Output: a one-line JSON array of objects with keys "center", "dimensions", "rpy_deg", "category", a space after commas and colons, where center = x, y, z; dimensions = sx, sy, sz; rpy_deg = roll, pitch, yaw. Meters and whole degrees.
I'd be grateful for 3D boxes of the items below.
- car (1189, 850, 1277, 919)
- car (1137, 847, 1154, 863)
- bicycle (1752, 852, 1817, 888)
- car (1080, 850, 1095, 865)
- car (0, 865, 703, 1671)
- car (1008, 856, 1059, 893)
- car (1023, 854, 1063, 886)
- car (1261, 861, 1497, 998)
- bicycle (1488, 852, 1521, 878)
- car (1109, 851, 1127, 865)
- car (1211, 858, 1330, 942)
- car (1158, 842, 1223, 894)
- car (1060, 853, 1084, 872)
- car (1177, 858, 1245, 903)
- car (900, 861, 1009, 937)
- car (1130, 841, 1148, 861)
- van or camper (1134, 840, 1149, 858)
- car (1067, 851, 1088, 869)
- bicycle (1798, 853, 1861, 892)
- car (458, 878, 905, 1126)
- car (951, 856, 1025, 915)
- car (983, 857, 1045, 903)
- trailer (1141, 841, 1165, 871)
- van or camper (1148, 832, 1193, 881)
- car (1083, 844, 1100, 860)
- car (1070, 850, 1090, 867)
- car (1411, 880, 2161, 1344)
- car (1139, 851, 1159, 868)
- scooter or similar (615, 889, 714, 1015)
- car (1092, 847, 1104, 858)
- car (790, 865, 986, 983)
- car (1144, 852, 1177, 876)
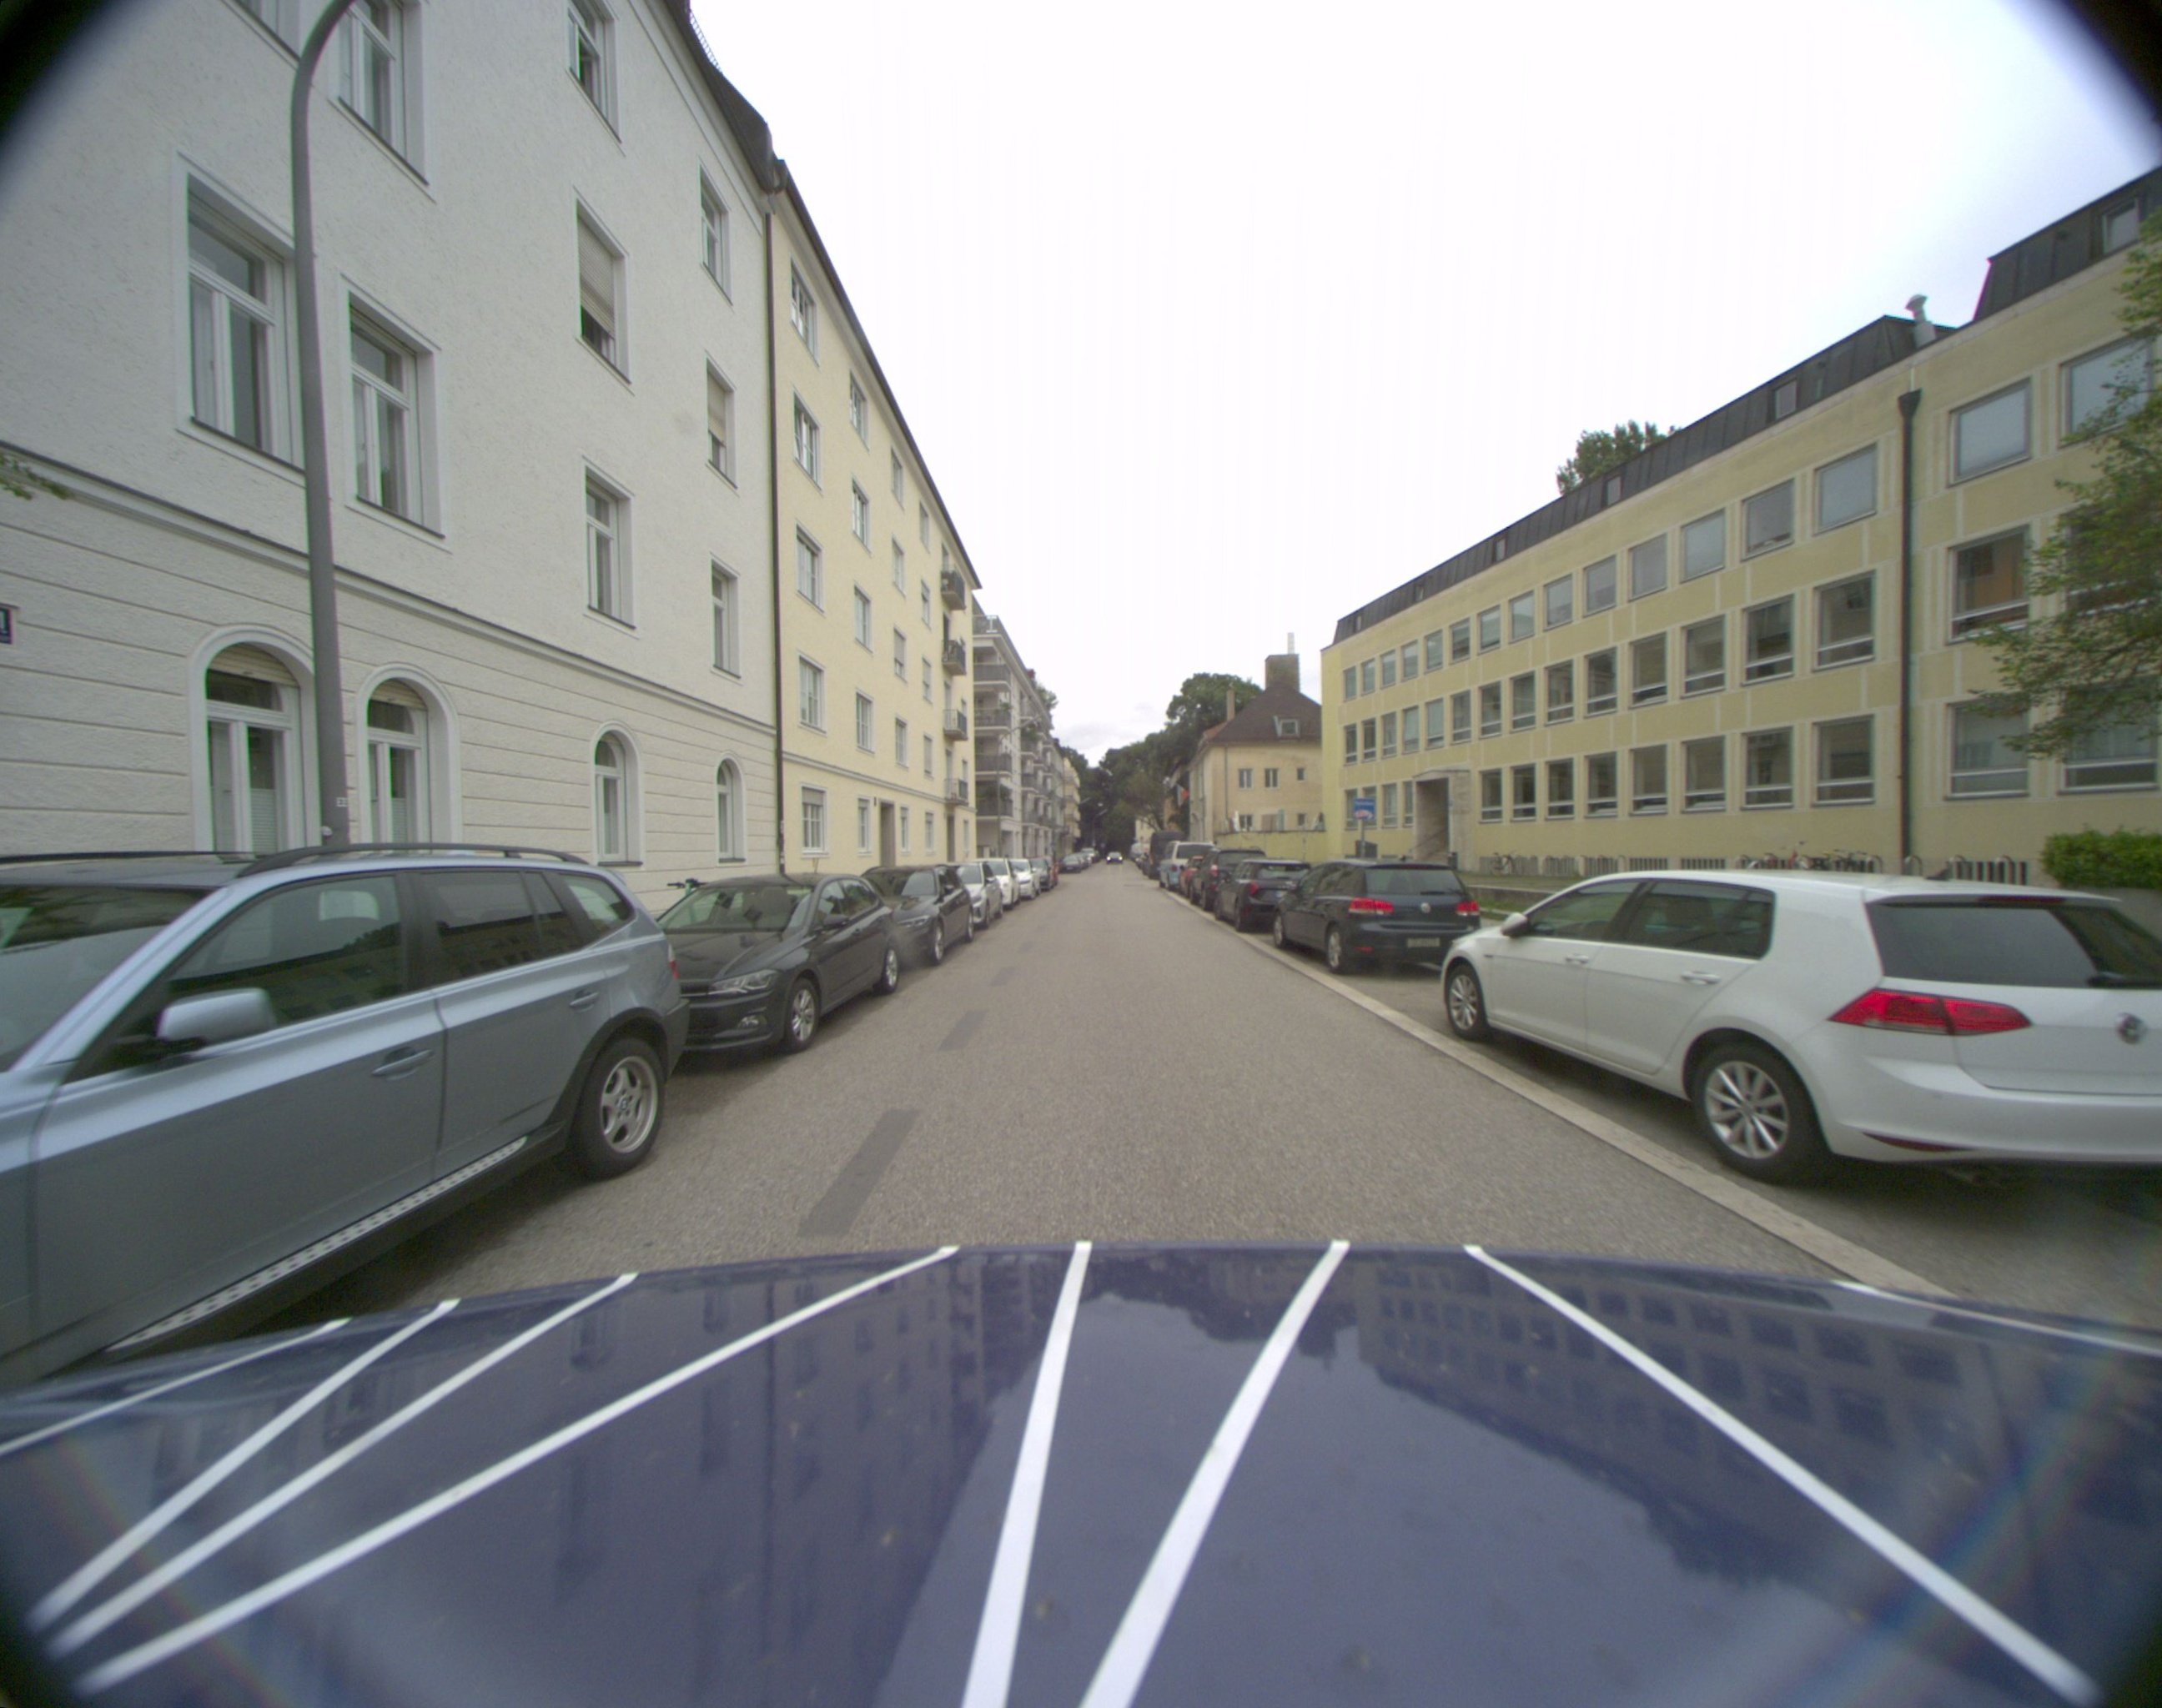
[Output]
[{"center": [4.063, 0.748, 20.912], "dimensions": [1.719, 1.680, 4.141], "rpy_deg": [1, 1, 2], "category": "car"}, {"center": [7.518, 0.101, 88.679], "dimensions": [1.719, 1.746, 4.251], "rpy_deg": [0, 0, 2], "category": "car"}, {"center": [19.432, 0.436, 20.983], "dimensions": [1.410, 0.939, 0.414], "rpy_deg": [-3, 1, -1], "category": "bicycle"}, {"center": [0.720, 0.340, 83.650], "dimensions": [1.668, 1.459, 4.375], "rpy_deg": [-1, 2, 0], "category": "car"}, {"center": [-3.248, 0.937, 2.318], "dimensions": [1.851, 1.654, 4.498], "rpy_deg": [-2, 1, 1], "category": "car"}, {"center": [-1.988, 0.849, 33.227], "dimensions": [1.777, 1.421, 4.615], "rpy_deg": [-2, 0, 1], "category": "car"}, {"center": [-1.868, 0.771, 38.204], "dimensions": [1.659, 1.421, 3.756], "rpy_deg": [-2, 0, 1], "category": "car"}, {"center": [3.893, 0.883, 10.740], "dimensions": [1.635, 1.486, 4.100], "rpy_deg": [1, 0, -1], "category": "car"}, {"center": [16.996, 0.435, 30.472], "dimensions": [1.413, 0.939, 0.413], "rpy_deg": [-3, 1, -26], "category": "bicycle"}, {"center": [4.265, 0.471, 87.609], "dimensions": [1.998, 1.521, 4.001], "rpy_deg": [-2, 0, 2], "category": "car"}, {"center": [3.799, 0.849, 15.843], "dimensions": [1.634, 1.486, 3.820], "rpy_deg": [0, 1, 2], "category": "car"}, {"center": [4.381, 0.539, 31.160], "dimensions": [1.920, 1.948, 4.961], "rpy_deg": [1, 0, 0], "category": "car"}, {"center": [-0.665, 0.647, 60.582], "dimensions": [1.775, 1.467, 4.217], "rpy_deg": [-1, 0, 0], "category": "car"}, {"center": [4.411, 0.859, 26.255], "dimensions": [1.809, 1.398, 3.709], "rpy_deg": [1, 0, 2], "category": "car"}, {"center": [-2.769, 0.937, 17.548], "dimensions": [1.728, 1.441, 4.187], "rpy_deg": [-2, 0, 0], "category": "car"}, {"center": [7.539, -0.400, 99.135], "dimensions": [2.116, 2.461, 5.232], "rpy_deg": [0, 0, 2], "category": "car"}, {"center": [9.125, -0.697, 115.379], "dimensions": [2.116, 2.646, 4.958], "rpy_deg": [0, 0, 2], "category": "van or camper"}, {"center": [-0.282, 0.515, 66.630], "dimensions": [1.620, 1.458, 3.747], "rpy_deg": [-2, 0, 3], "category": "car"}, {"center": [19.209, 0.469, 19.501], "dimensions": [1.411, 0.939, 0.414], "rpy_deg": [-3, 1, -10], "category": "bicycle"}, {"center": [-3.110, 1.051, 7.051], "dimensions": [1.832, 1.441, 4.084], "rpy_deg": [-2, 0, 2], "category": "car"}, {"center": [-2.674, 0.871, 22.686], "dimensions": [1.655, 1.535, 3.993], "rpy_deg": [-2, 0, 0], "category": "car"}, {"center": [-2.321, 0.878, 27.408], "dimensions": [1.729, 1.421, 4.293], "rpy_deg": [-2, 0, 1], "category": "car"}, {"center": [6.312, 0.124, 66.540], "dimensions": [1.980, 2.457, 4.578], "rpy_deg": [2, 1, 6], "category": "trailer"}, {"center": [5.124, 0.097, 44.140], "dimensions": [2.298, 2.635, 5.562], "rpy_deg": [1, 1, 4], "category": "van or camper"}, {"center": [1.396, -0.289, 98.358], "dimensions": [1.858, 2.019, 4.784], "rpy_deg": [-2, 0, 3], "category": "car"}, {"center": [-0.061, 0.431, 71.607], "dimensions": [1.795, 1.473, 4.603], "rpy_deg": [-2, 1, 1], "category": "car"}, {"center": [3.911, 0.974, 4.758], "dimensions": [1.745, 1.414, 4.293], "rpy_deg": [1, 0, -1], "category": "car"}, {"center": [6.397, 0.492, 71.950], "dimensions": [1.683, 1.521, 4.107], "rpy_deg": [0, 0, 2], "category": "car"}, {"center": [-4.497, 1.023, 8.267], "dimensions": [0.428, 1.223, 1.047], "rpy_deg": [-2, 1, 2], "category": "scooter or similar"}, {"center": [2.582, -0.208, 115.313], "dimensions": [1.771, 1.607, 4.263], "rpy_deg": [-1, 0, 2], "category": "car"}, {"center": [-2.883, 0.973, 12.538], "dimensions": [1.880, 1.441, 4.678], "rpy_deg": [-2, 0, 1], "category": "car"}, {"center": [5.133, 0.609, 49.406], "dimensions": [1.657, 1.488, 3.908], "rpy_deg": [1, 0, -1], "category": "car"}]
